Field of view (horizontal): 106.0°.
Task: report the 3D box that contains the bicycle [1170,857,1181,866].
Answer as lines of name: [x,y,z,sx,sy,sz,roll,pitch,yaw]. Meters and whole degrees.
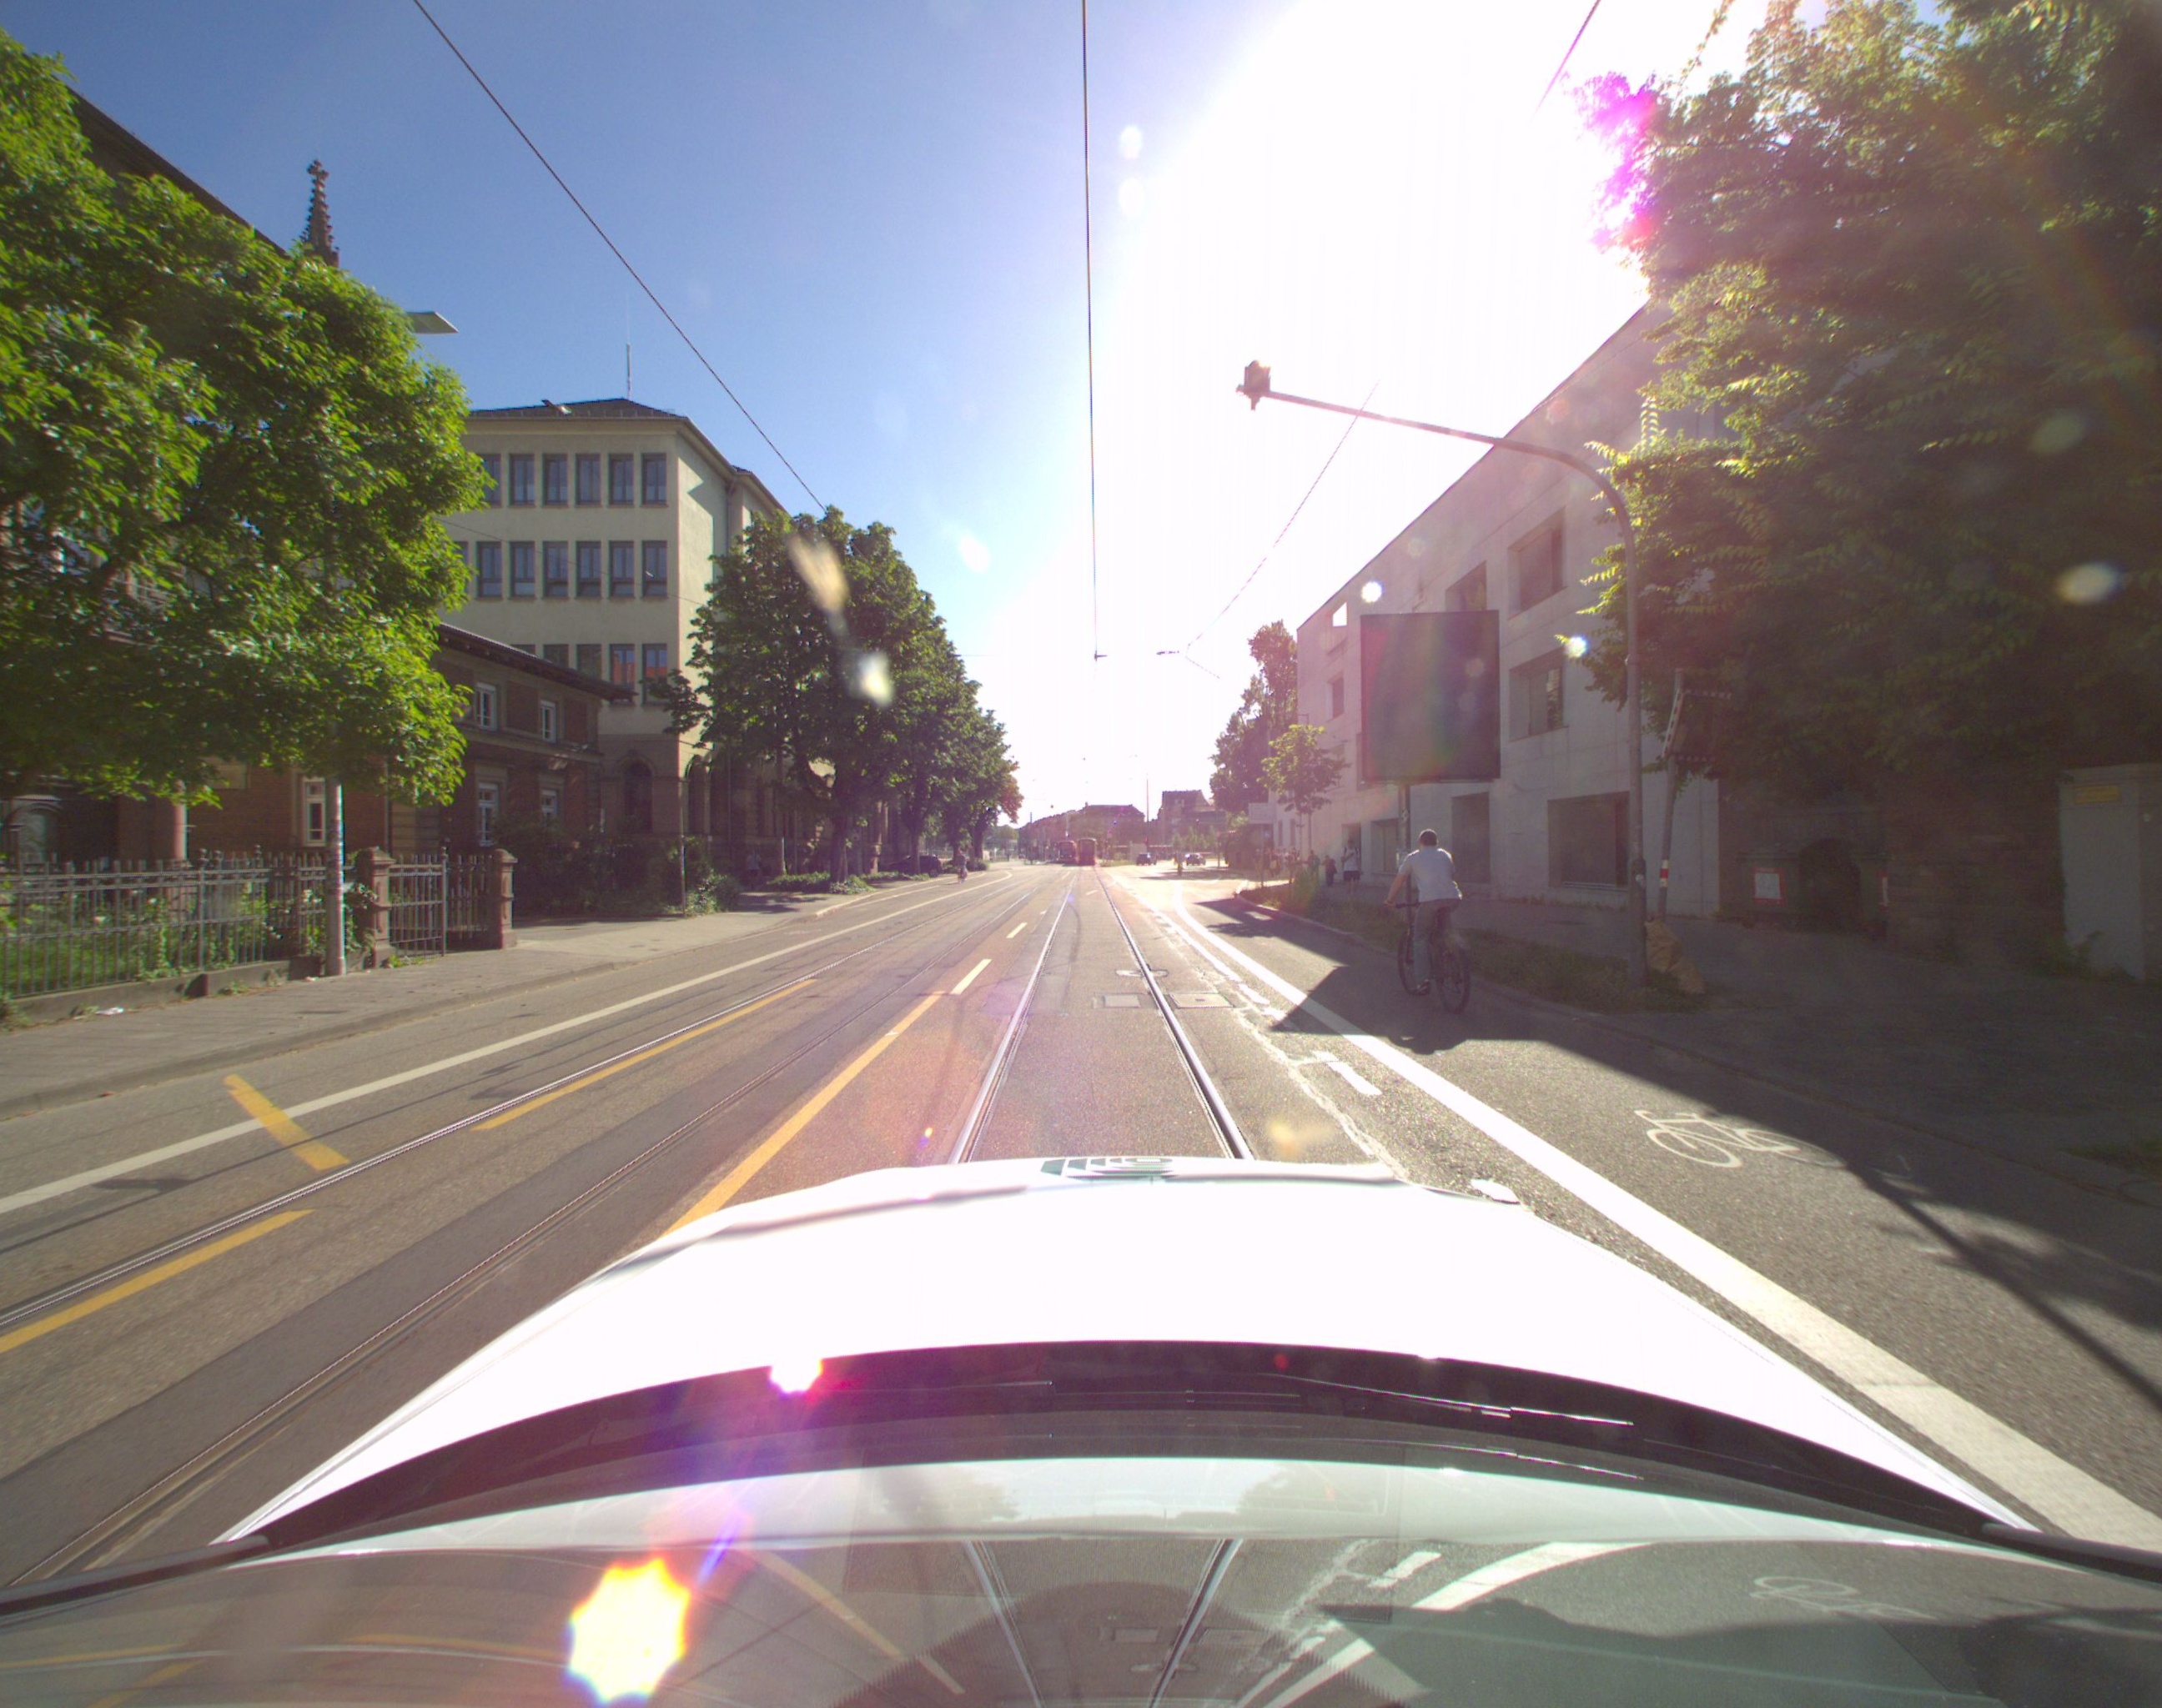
bicycle: [12.092,0.919,103.905,0.698,1.055,2.327,1,1,25]

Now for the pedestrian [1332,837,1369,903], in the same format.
pedestrian: [7.812,0.462,23.617,0.682,1.849,0.955,-2,0,-1]

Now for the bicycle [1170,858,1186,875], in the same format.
bicycle: [6.701,0.873,56.066,0.699,1.104,1.726,1,1,20]

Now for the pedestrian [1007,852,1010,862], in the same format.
pedestrian: [-14.566,0.667,163.194,0.522,2.013,0.523,-1,0,5]

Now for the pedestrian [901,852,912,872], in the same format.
pedestrian: [-14.368,0.647,67.042,0.698,1.635,0.759,1,0,0]

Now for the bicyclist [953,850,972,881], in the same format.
bicyclist: [-6.569,0.635,45.201,0.683,1.644,1.239,-3,0,4]

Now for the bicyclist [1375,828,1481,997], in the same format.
bicyclist: [3.648,0.580,8.644,0.735,1.686,0.972,0,0,2]

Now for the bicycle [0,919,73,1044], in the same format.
bicycle: [-9.789,1.138,6.675,0.587,1.045,1.907,1,0,4]

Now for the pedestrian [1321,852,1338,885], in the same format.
pedestrian: [10.696,0.627,35.046,0.515,1.404,0.765,-1,0,3]

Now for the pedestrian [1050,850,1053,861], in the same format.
pedestrian: [-5.075,0.239,140.284,0.624,1.827,0.662,-1,0,-1]

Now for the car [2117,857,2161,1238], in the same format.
car: [5.142,0.707,0.865,1.817,1.458,4.813,-3,0,-3]

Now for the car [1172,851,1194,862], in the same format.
car: [15.519,0.409,123.880,1.685,1.643,3.736,0,0,35]

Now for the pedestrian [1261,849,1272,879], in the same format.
pedestrian: [10.969,0.583,48.155,0.491,1.728,0.819,-5,-1,12]

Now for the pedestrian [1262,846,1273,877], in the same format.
pedestrian: [11.810,0.469,51.583,0.515,1.902,0.613,-4,0,8]

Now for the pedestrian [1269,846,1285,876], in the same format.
pedestrian: [12.320,0.426,51.222,0.523,1.774,0.740,-6,-1,41]

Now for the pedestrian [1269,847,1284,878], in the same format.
pedestrian: [11.584,0.492,48.220,0.642,1.763,0.960,-5,0,15]

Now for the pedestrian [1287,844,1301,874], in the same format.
pedestrian: [12.940,0.293,49.460,0.653,1.802,0.733,-5,0,8]

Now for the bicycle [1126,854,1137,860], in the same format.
bicycle: [8.894,0.572,143.896,1.929,1.103,0.598,-1,0,-2]

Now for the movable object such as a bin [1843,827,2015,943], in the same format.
movable object such as a bin: [11.442,0.393,11.054,0.930,1.463,1.331,-1,0,-1]

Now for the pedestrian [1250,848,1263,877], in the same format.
pedestrian: [11.166,0.542,51.812,0.603,1.746,0.719,-5,0,8]

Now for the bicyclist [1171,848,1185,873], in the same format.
bicyclist: [6.702,0.449,56.062,0.699,1.675,1.107,1,0,20]

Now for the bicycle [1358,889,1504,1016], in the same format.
bicycle: [3.651,0.973,8.721,0.735,1.094,2.112,0,0,2]

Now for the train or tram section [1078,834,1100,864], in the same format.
train or tram section: [0.976,-0.696,107.627,2.733,3.651,13.782,-1,0,0]

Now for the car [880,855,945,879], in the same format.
car: [-11.542,0.866,55.695,4.009,1.550,1.861,0,0,-27]

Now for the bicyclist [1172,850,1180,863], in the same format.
bicyclist: [12.095,0.304,103.879,0.698,1.700,0.993,1,1,25]

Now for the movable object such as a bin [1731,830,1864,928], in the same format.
movable object such as a bin: [11.347,0.373,12.964,0.930,1.463,1.356,-1,0,2]

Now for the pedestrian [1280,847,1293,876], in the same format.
pedestrian: [12.833,0.467,50.803,0.605,1.774,0.656,-6,-1,16]

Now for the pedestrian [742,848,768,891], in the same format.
pedestrian: [-14.147,0.670,35.341,0.727,1.797,0.780,2,0,0]

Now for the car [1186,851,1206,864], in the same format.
car: [14.423,0.445,102.198,1.774,1.511,3.730,0,0,19]

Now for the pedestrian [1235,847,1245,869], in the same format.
pedestrian: [14.088,0.387,72.254,0.635,1.903,1.135,-3,0,1]

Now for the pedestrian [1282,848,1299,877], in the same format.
pedestrian: [12.408,0.494,48.230,0.822,1.604,0.897,-5,0,15]

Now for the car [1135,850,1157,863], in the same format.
car: [8.089,0.334,101.104,1.774,1.604,3.731,0,0,19]

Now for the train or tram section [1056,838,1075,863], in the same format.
train or tram section: [-2.314,-0.606,127.676,2.733,3.651,13.782,-1,0,0]

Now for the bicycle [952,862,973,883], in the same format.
bicycle: [-6.561,1.014,45.058,0.683,1.124,1.934,-3,0,5]

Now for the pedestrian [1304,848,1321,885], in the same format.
pedestrian: [10.043,0.533,35.282,0.515,1.600,0.765,-1,0,3]
